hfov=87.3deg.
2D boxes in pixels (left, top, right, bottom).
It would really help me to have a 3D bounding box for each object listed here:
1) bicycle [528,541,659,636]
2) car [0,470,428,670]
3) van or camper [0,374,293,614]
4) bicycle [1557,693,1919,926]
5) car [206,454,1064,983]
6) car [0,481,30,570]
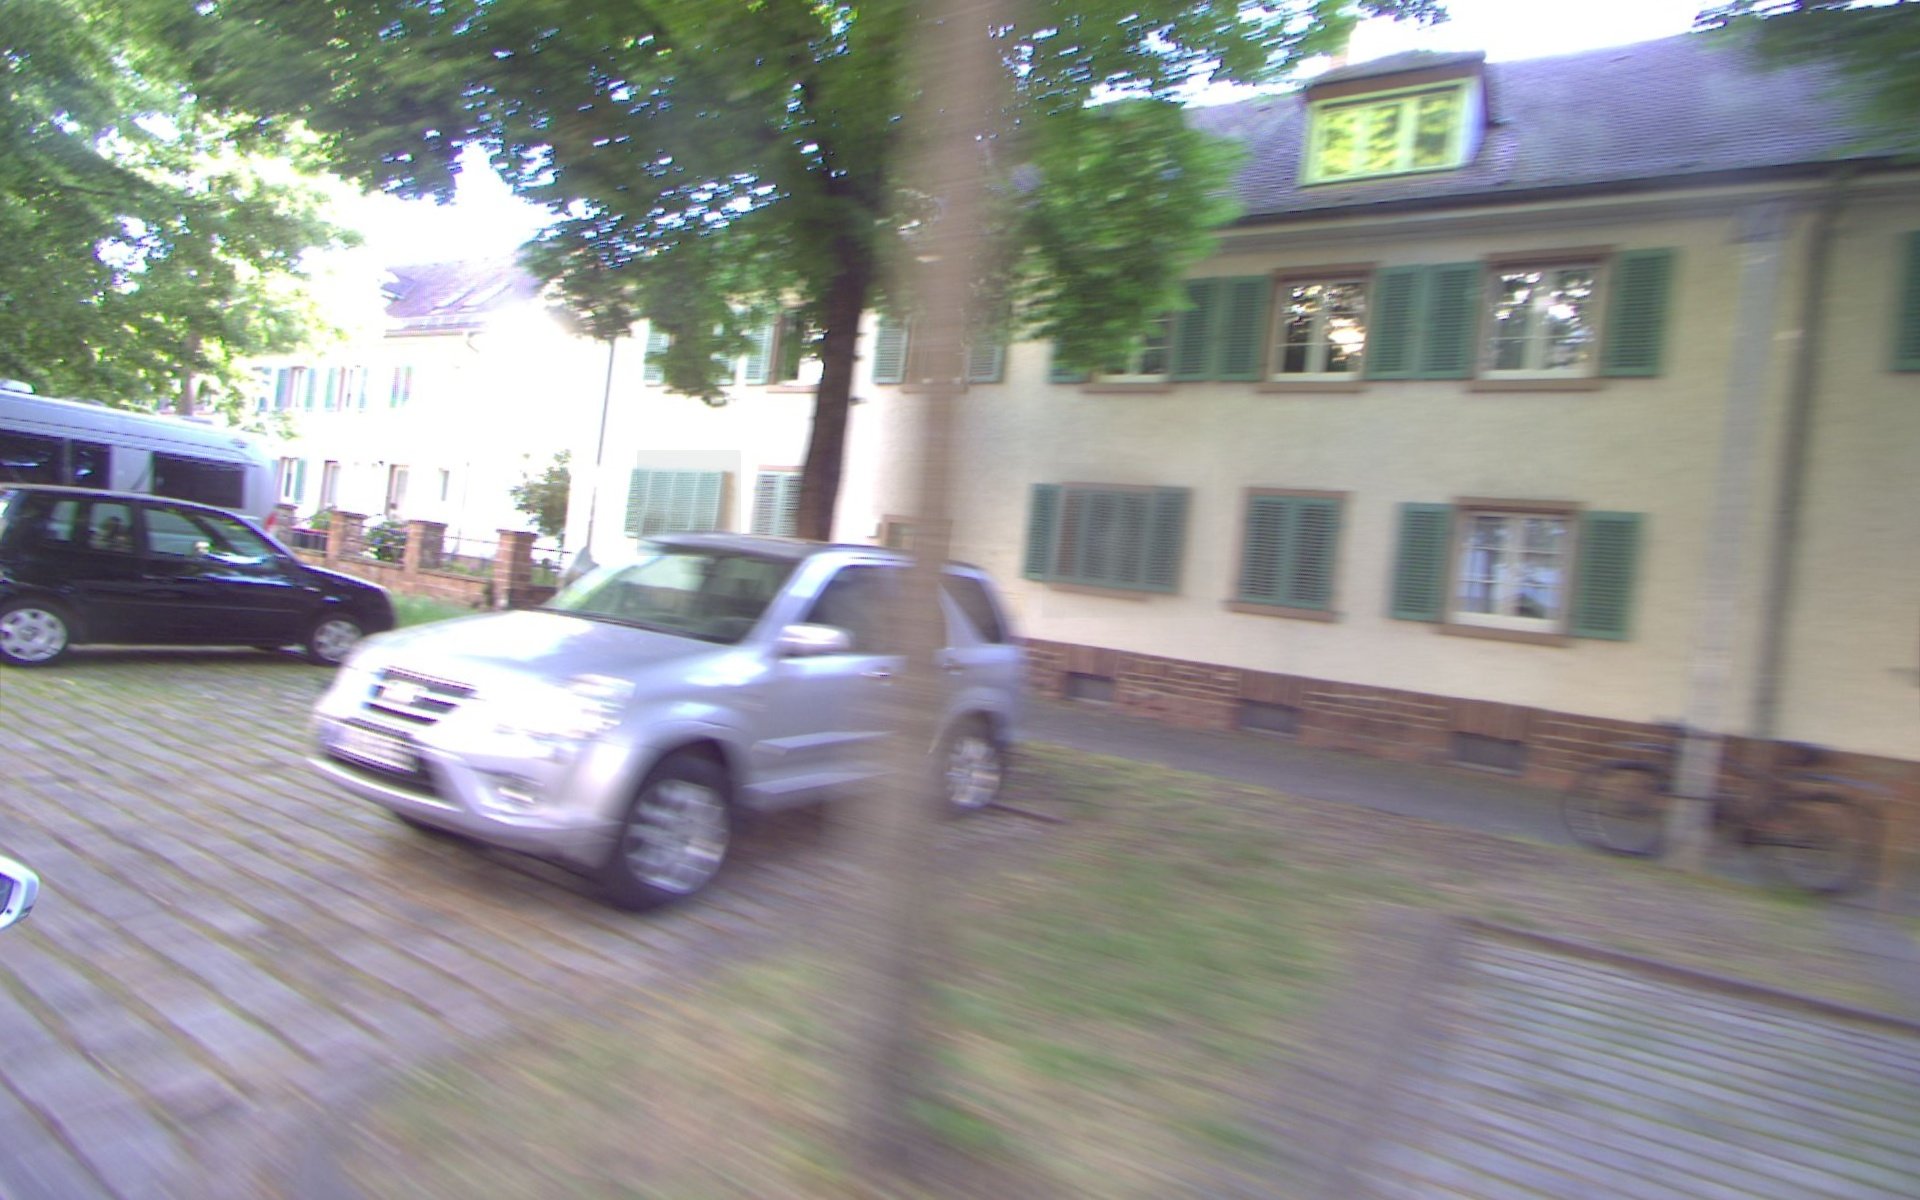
[{"bbox_3d":[-6.462,-0.204,17.765,1.967,1.416,0.802,7,0,18],"label":"bicycle"},{"bbox_3d":[-7.136,-0.206,9.264,1.722,1.490,3.505,6,0,30],"label":"car"},{"bbox_3d":[-11.496,-1.288,11.844,2.230,2.569,5.580,6,1,29],"label":"van or camper"},{"bbox_3d":[5.388,1.390,7.031,1.899,1.177,0.630,8,0,23],"label":"bicycle"},{"bbox_3d":[-1.249,0.407,5.776,1.909,1.692,4.479,8,2,29],"label":"car"},{"bbox_3d":[-17.999,-1.488,15.874,1.786,1.471,4.507,6,-1,32],"label":"car"}]
